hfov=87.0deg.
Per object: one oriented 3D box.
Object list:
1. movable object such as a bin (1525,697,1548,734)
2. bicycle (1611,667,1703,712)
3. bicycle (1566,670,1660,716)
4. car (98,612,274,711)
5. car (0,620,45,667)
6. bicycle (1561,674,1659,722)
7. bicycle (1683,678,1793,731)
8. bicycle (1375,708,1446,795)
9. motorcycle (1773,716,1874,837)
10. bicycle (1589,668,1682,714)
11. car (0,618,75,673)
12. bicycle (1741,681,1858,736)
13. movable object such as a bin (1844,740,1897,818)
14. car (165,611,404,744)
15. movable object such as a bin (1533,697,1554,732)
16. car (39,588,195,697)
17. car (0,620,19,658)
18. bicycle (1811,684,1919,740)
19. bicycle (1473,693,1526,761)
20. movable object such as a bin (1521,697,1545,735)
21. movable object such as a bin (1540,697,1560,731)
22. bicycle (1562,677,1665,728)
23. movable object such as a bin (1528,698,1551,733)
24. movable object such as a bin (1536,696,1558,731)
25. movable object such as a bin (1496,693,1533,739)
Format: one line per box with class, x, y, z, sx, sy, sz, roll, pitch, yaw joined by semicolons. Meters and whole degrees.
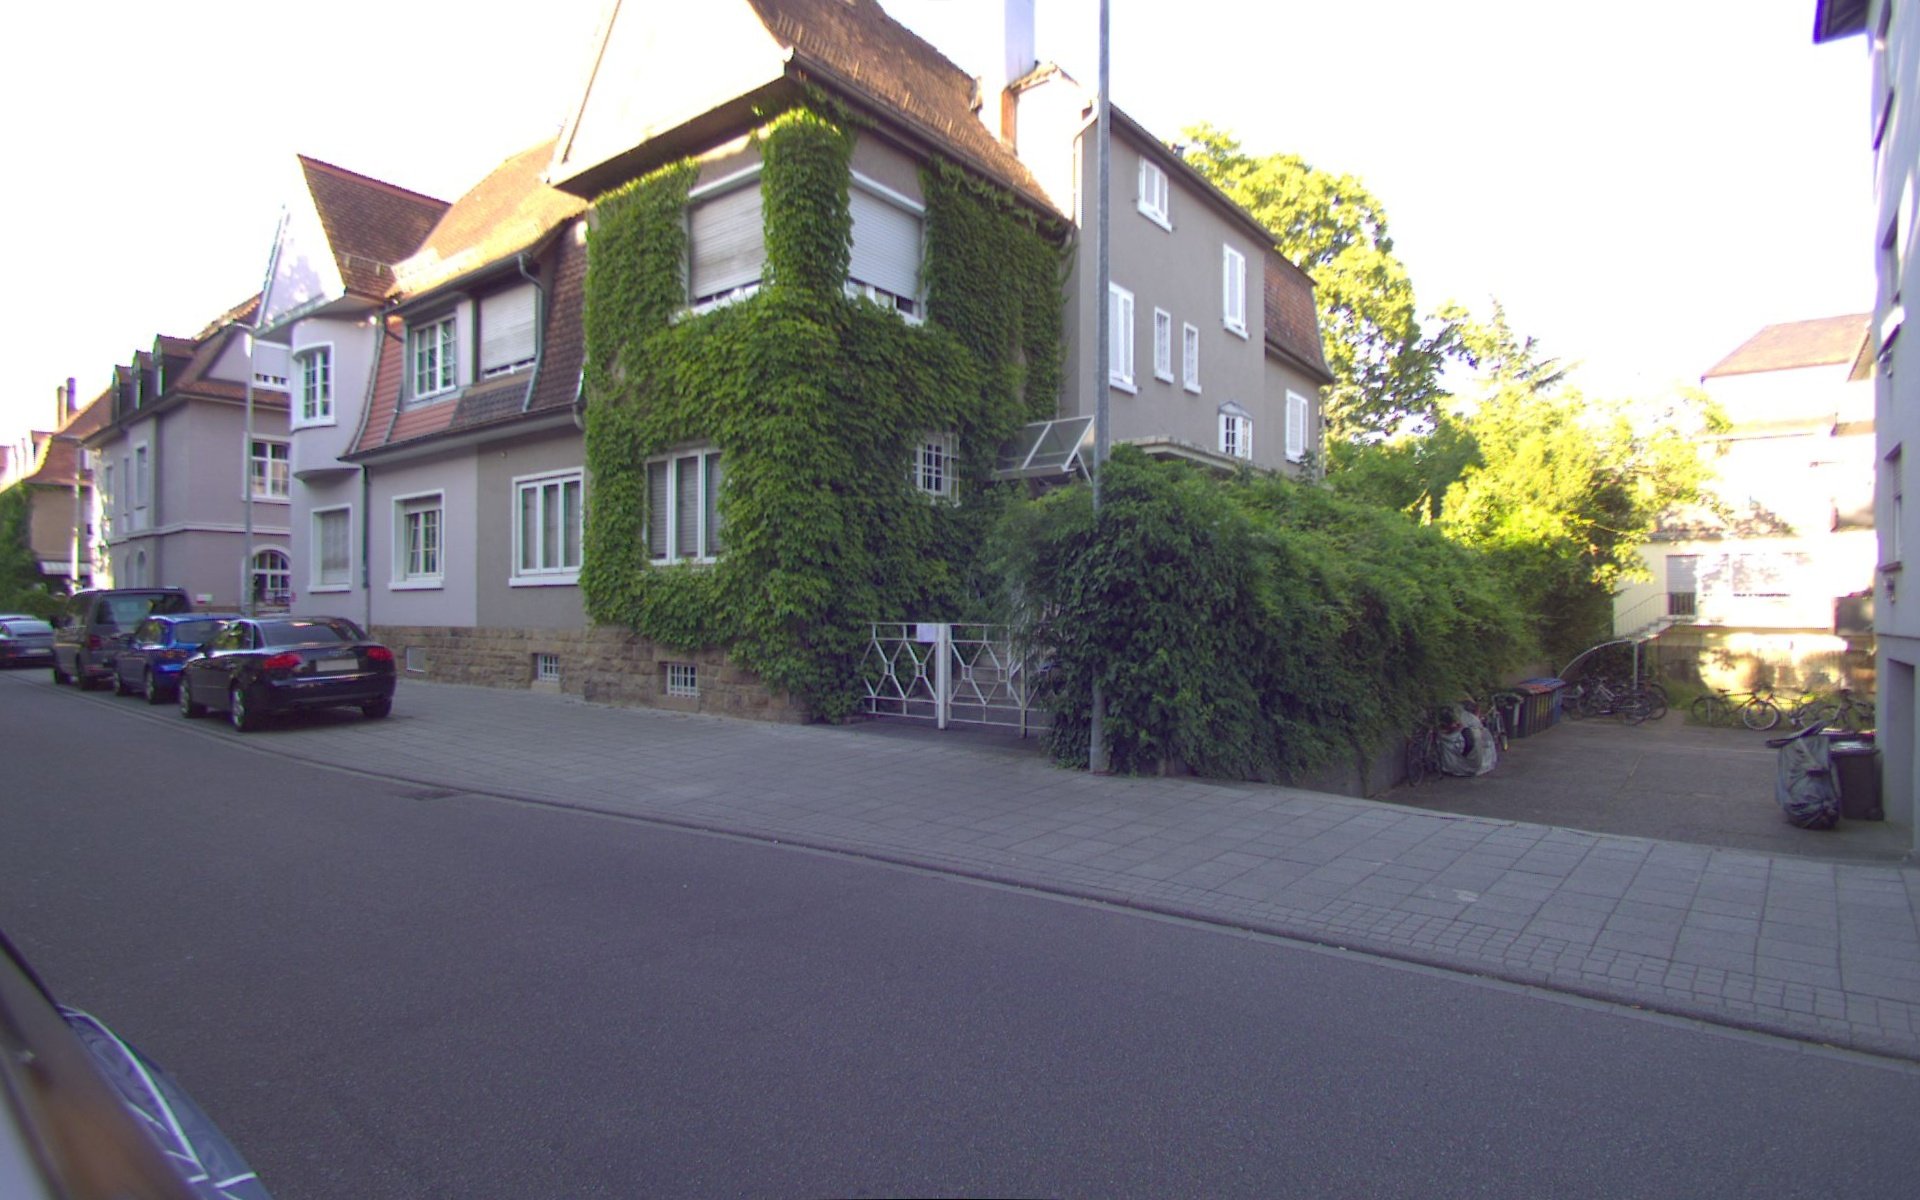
movable object such as a bin;12.789;2.559;22.464;0.381;0.779;0.359;-1;-4;41
bicycle;19.427;2.482;28.238;2.068;1.028;0.561;1;3;41
bicycle;17.708;2.505;27.467;2.068;1.028;0.608;1;3;41
car;-13.710;0.992;17.853;4.021;1.475;1.591;0;2;40
car;-30.232;1.341;31.899;3.942;1.381;1.522;-1;1;40
bicycle;16.848;2.517;26.265;2.068;1.028;0.565;1;3;41
bicycle;18.725;2.493;24.388;2.068;1.028;0.634;1;3;41
bicycle;6.771;2.232;15.161;0.514;1.027;1.914;1;0;38
motorcycle;10.725;2.152;12.624;0.757;1.261;1.575;-1;-3;34
bicycle;18.626;2.493;27.933;2.068;1.028;0.608;1;3;41
car;-26.364;1.239;28.364;4.331;1.381;1.698;-1;1;40
bicycle;19.589;2.506;23.645;2.068;1.028;0.634;1;3;41
movable object such as a bin;11.770;2.299;13.093;0.432;0.894;0.717;-1;-3;37
car;-9.305;0.930;13.828;4.023;1.439;1.729;0;2;42
movable object such as a bin;13.293;2.605;23.053;0.367;0.764;0.359;-1;-4;41
car;-17.511;0.789;20.964;4.308;1.987;1.698;0;2;40
car;-36.536;1.452;37.689;3.942;1.381;1.698;-1;1;40
bicycle;20.532;2.522;22.806;2.068;1.028;0.634;1;3;41
bicycle;9.966;2.318;18.667;0.514;1.027;1.914;1;0;38
movable object such as a bin;12.545;2.533;22.165;0.398;0.779;0.359;-1;-4;41
movable object such as a bin;13.793;2.656;23.654;0.346;0.764;0.359;-1;-4;41
bicycle;16.283;2.525;25.253;2.068;1.028;0.634;1;3;41
movable object such as a bin;13.035;2.591;22.765;0.375;0.764;0.359;-1;-4;41
movable object such as a bin;13.545;2.618;23.350;0.367;0.764;0.359;-1;-4;41
movable object such as a bin;11.552;2.405;21.091;0.576;0.886;0.488;0;-3;41
